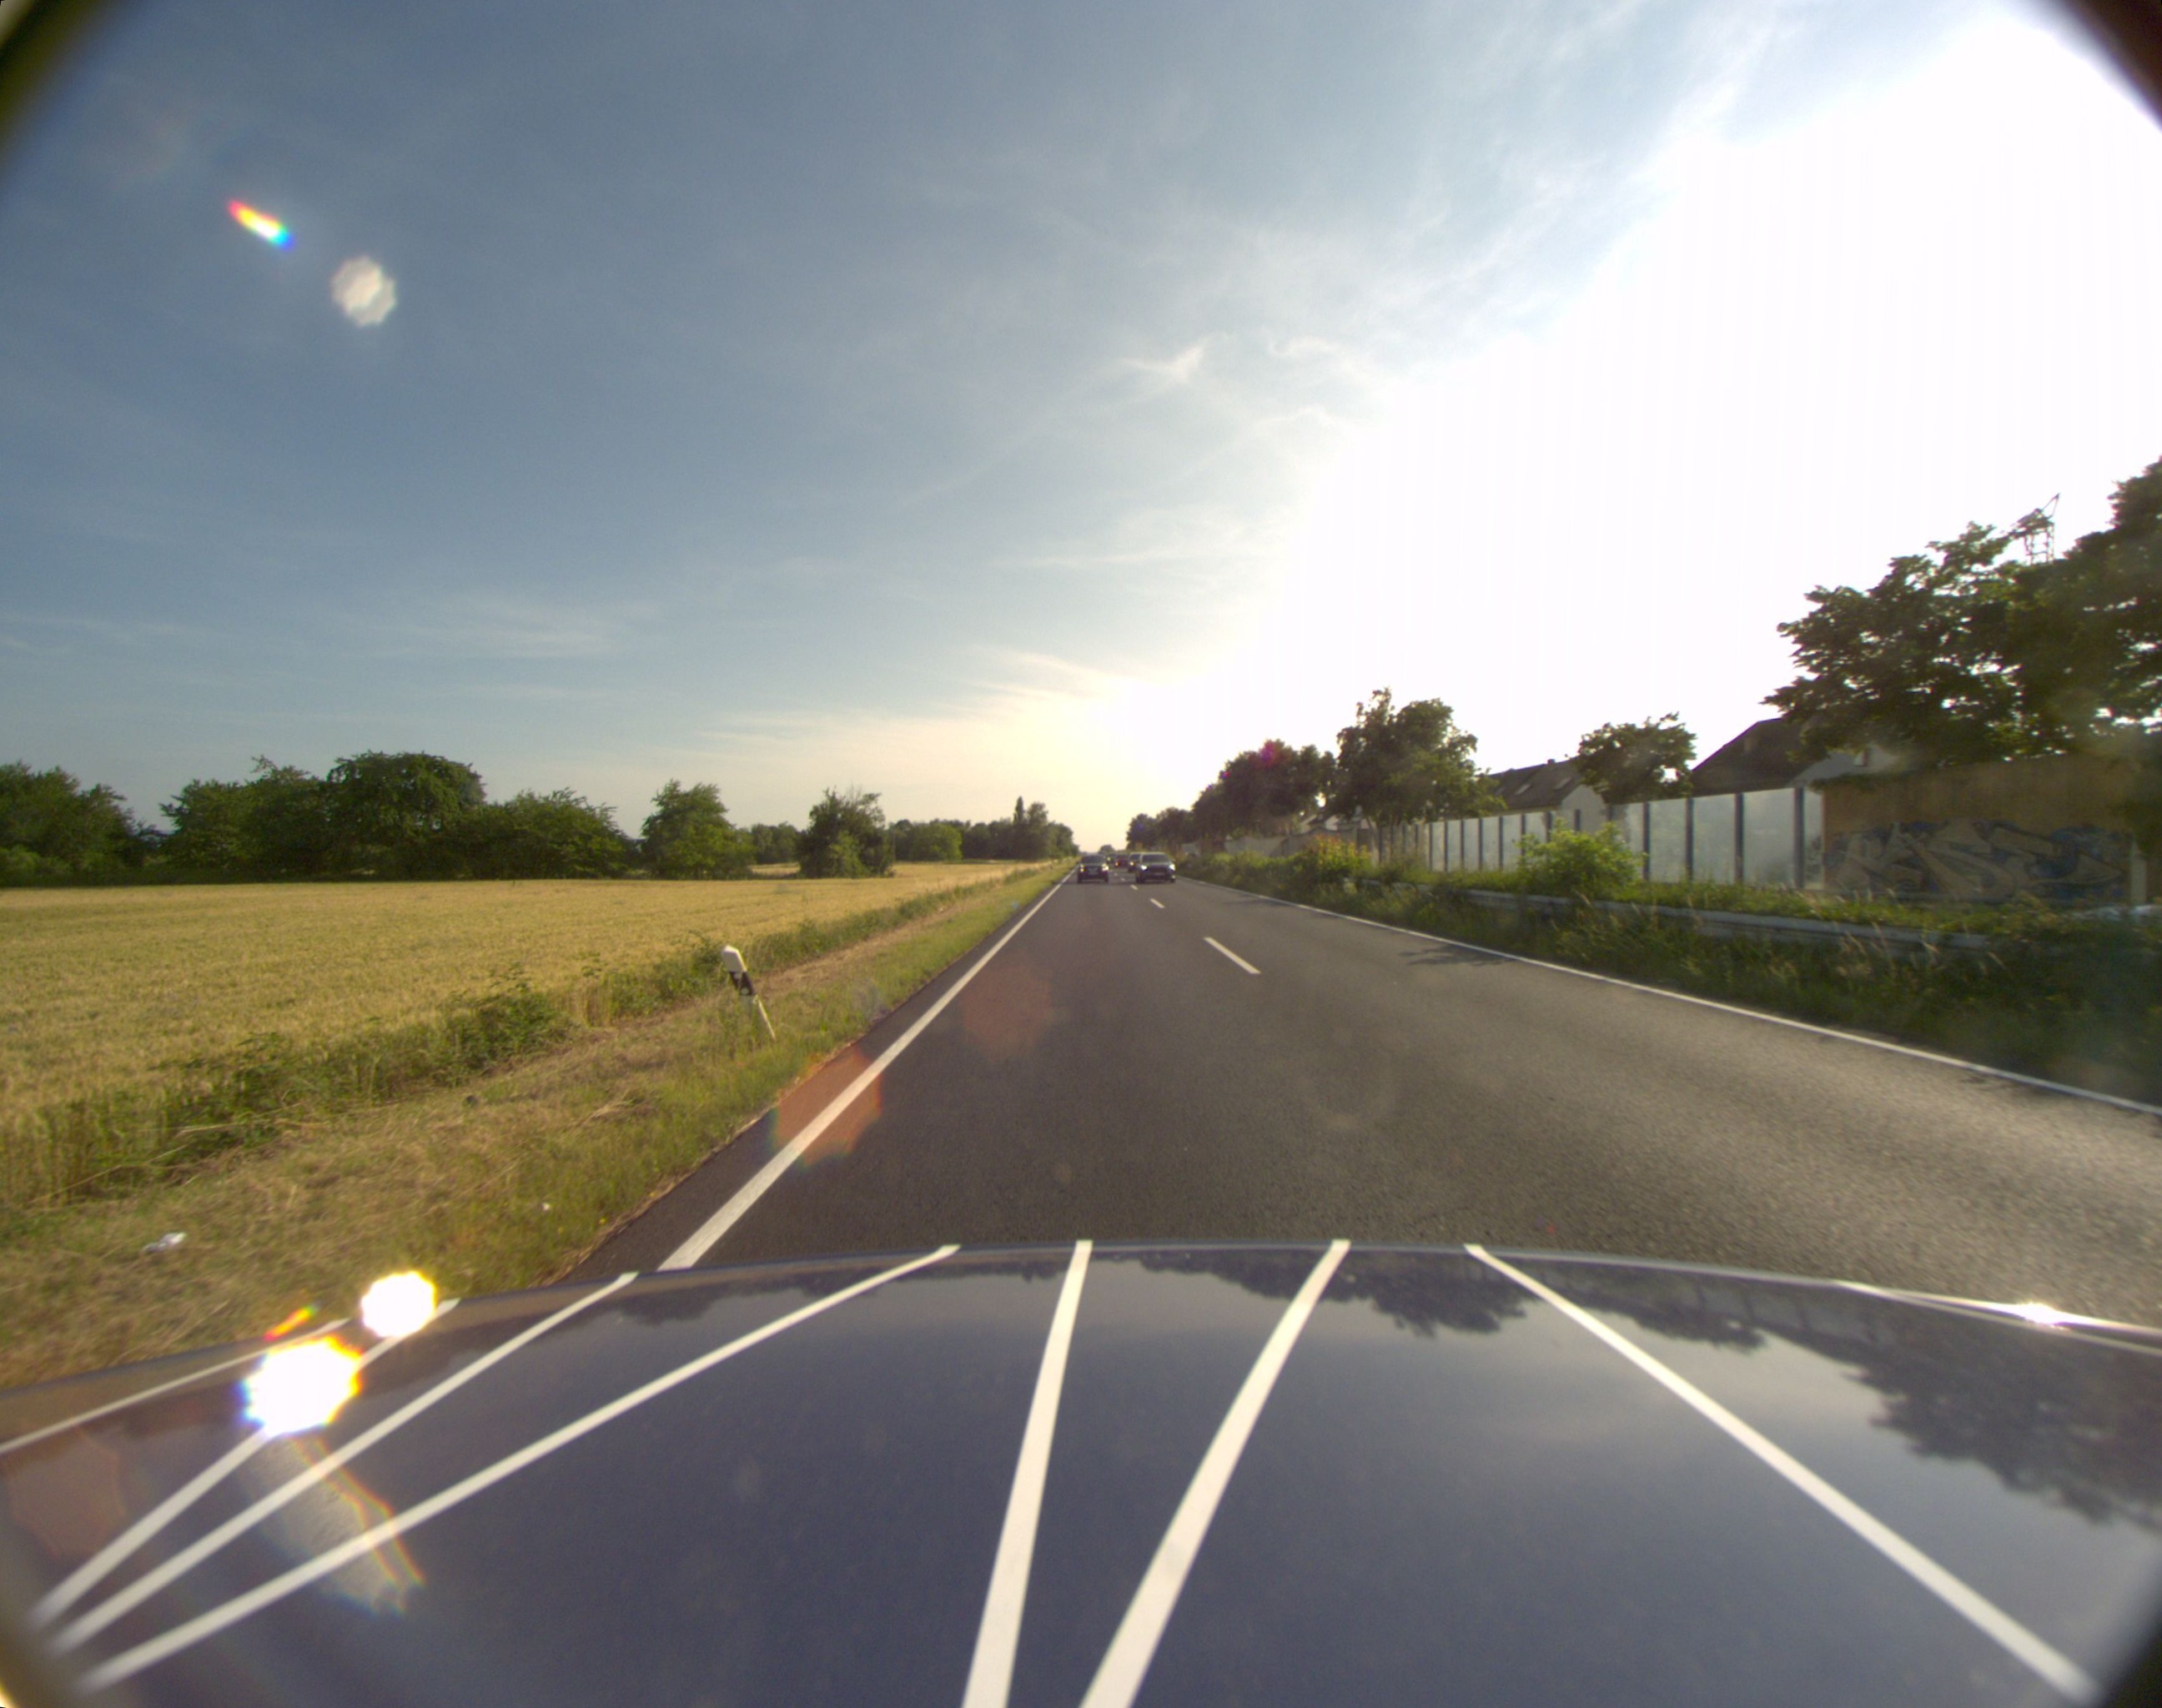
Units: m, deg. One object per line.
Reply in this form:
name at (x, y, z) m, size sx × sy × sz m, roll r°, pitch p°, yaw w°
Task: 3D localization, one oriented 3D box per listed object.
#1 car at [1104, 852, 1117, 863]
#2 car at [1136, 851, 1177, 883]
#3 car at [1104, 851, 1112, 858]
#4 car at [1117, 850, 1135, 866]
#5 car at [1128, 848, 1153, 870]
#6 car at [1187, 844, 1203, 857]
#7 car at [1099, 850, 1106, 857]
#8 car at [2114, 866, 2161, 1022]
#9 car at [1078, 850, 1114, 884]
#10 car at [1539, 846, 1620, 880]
car at (4.317, 0.460, 111.596) m, size 1.700 × 1.456 × 3.646 m, roll -2°, pitch 1°, yaw 1°
car at (4.001, 0.631, 40.659) m, size 1.821 × 1.516 × 4.246 m, roll -2°, pitch 1°, yaw 2°
car at (6.250, 0.048, 174.001) m, size 1.693 × 1.397 × 3.999 m, roll -2°, pitch 1°, yaw 1°
car at (5.073, 0.418, 85.944) m, size 1.822 × 1.661 × 4.000 m, roll -2°, pitch 1°, yaw 1°
car at (5.001, 0.399, 63.947) m, size 1.822 × 1.724 × 4.000 m, roll -2°, pitch 1°, yaw 2°
car at (17.314, -0.531, 115.776) m, size 1.842 × 1.784 × 4.299 m, roll -2°, pitch 1°, yaw 1°
car at (5.635, -0.056, 198.461) m, size 1.854 × 1.641 × 3.999 m, roll -2°, pitch 1°, yaw 1°
car at (11.258, 0.870, 5.826) m, size 1.698 × 1.480 × 3.673 m, roll -2°, pitch 1°, yaw 1°
car at (0.801, 0.659, 41.902) m, size 1.822 × 1.661 × 4.000 m, roll -2°, pitch 1°, yaw 1°
car at (30.832, 0.488, 47.171) m, size 1.790 × 1.908 × 4.914 m, roll -2°, pitch 1°, yaw 1°
